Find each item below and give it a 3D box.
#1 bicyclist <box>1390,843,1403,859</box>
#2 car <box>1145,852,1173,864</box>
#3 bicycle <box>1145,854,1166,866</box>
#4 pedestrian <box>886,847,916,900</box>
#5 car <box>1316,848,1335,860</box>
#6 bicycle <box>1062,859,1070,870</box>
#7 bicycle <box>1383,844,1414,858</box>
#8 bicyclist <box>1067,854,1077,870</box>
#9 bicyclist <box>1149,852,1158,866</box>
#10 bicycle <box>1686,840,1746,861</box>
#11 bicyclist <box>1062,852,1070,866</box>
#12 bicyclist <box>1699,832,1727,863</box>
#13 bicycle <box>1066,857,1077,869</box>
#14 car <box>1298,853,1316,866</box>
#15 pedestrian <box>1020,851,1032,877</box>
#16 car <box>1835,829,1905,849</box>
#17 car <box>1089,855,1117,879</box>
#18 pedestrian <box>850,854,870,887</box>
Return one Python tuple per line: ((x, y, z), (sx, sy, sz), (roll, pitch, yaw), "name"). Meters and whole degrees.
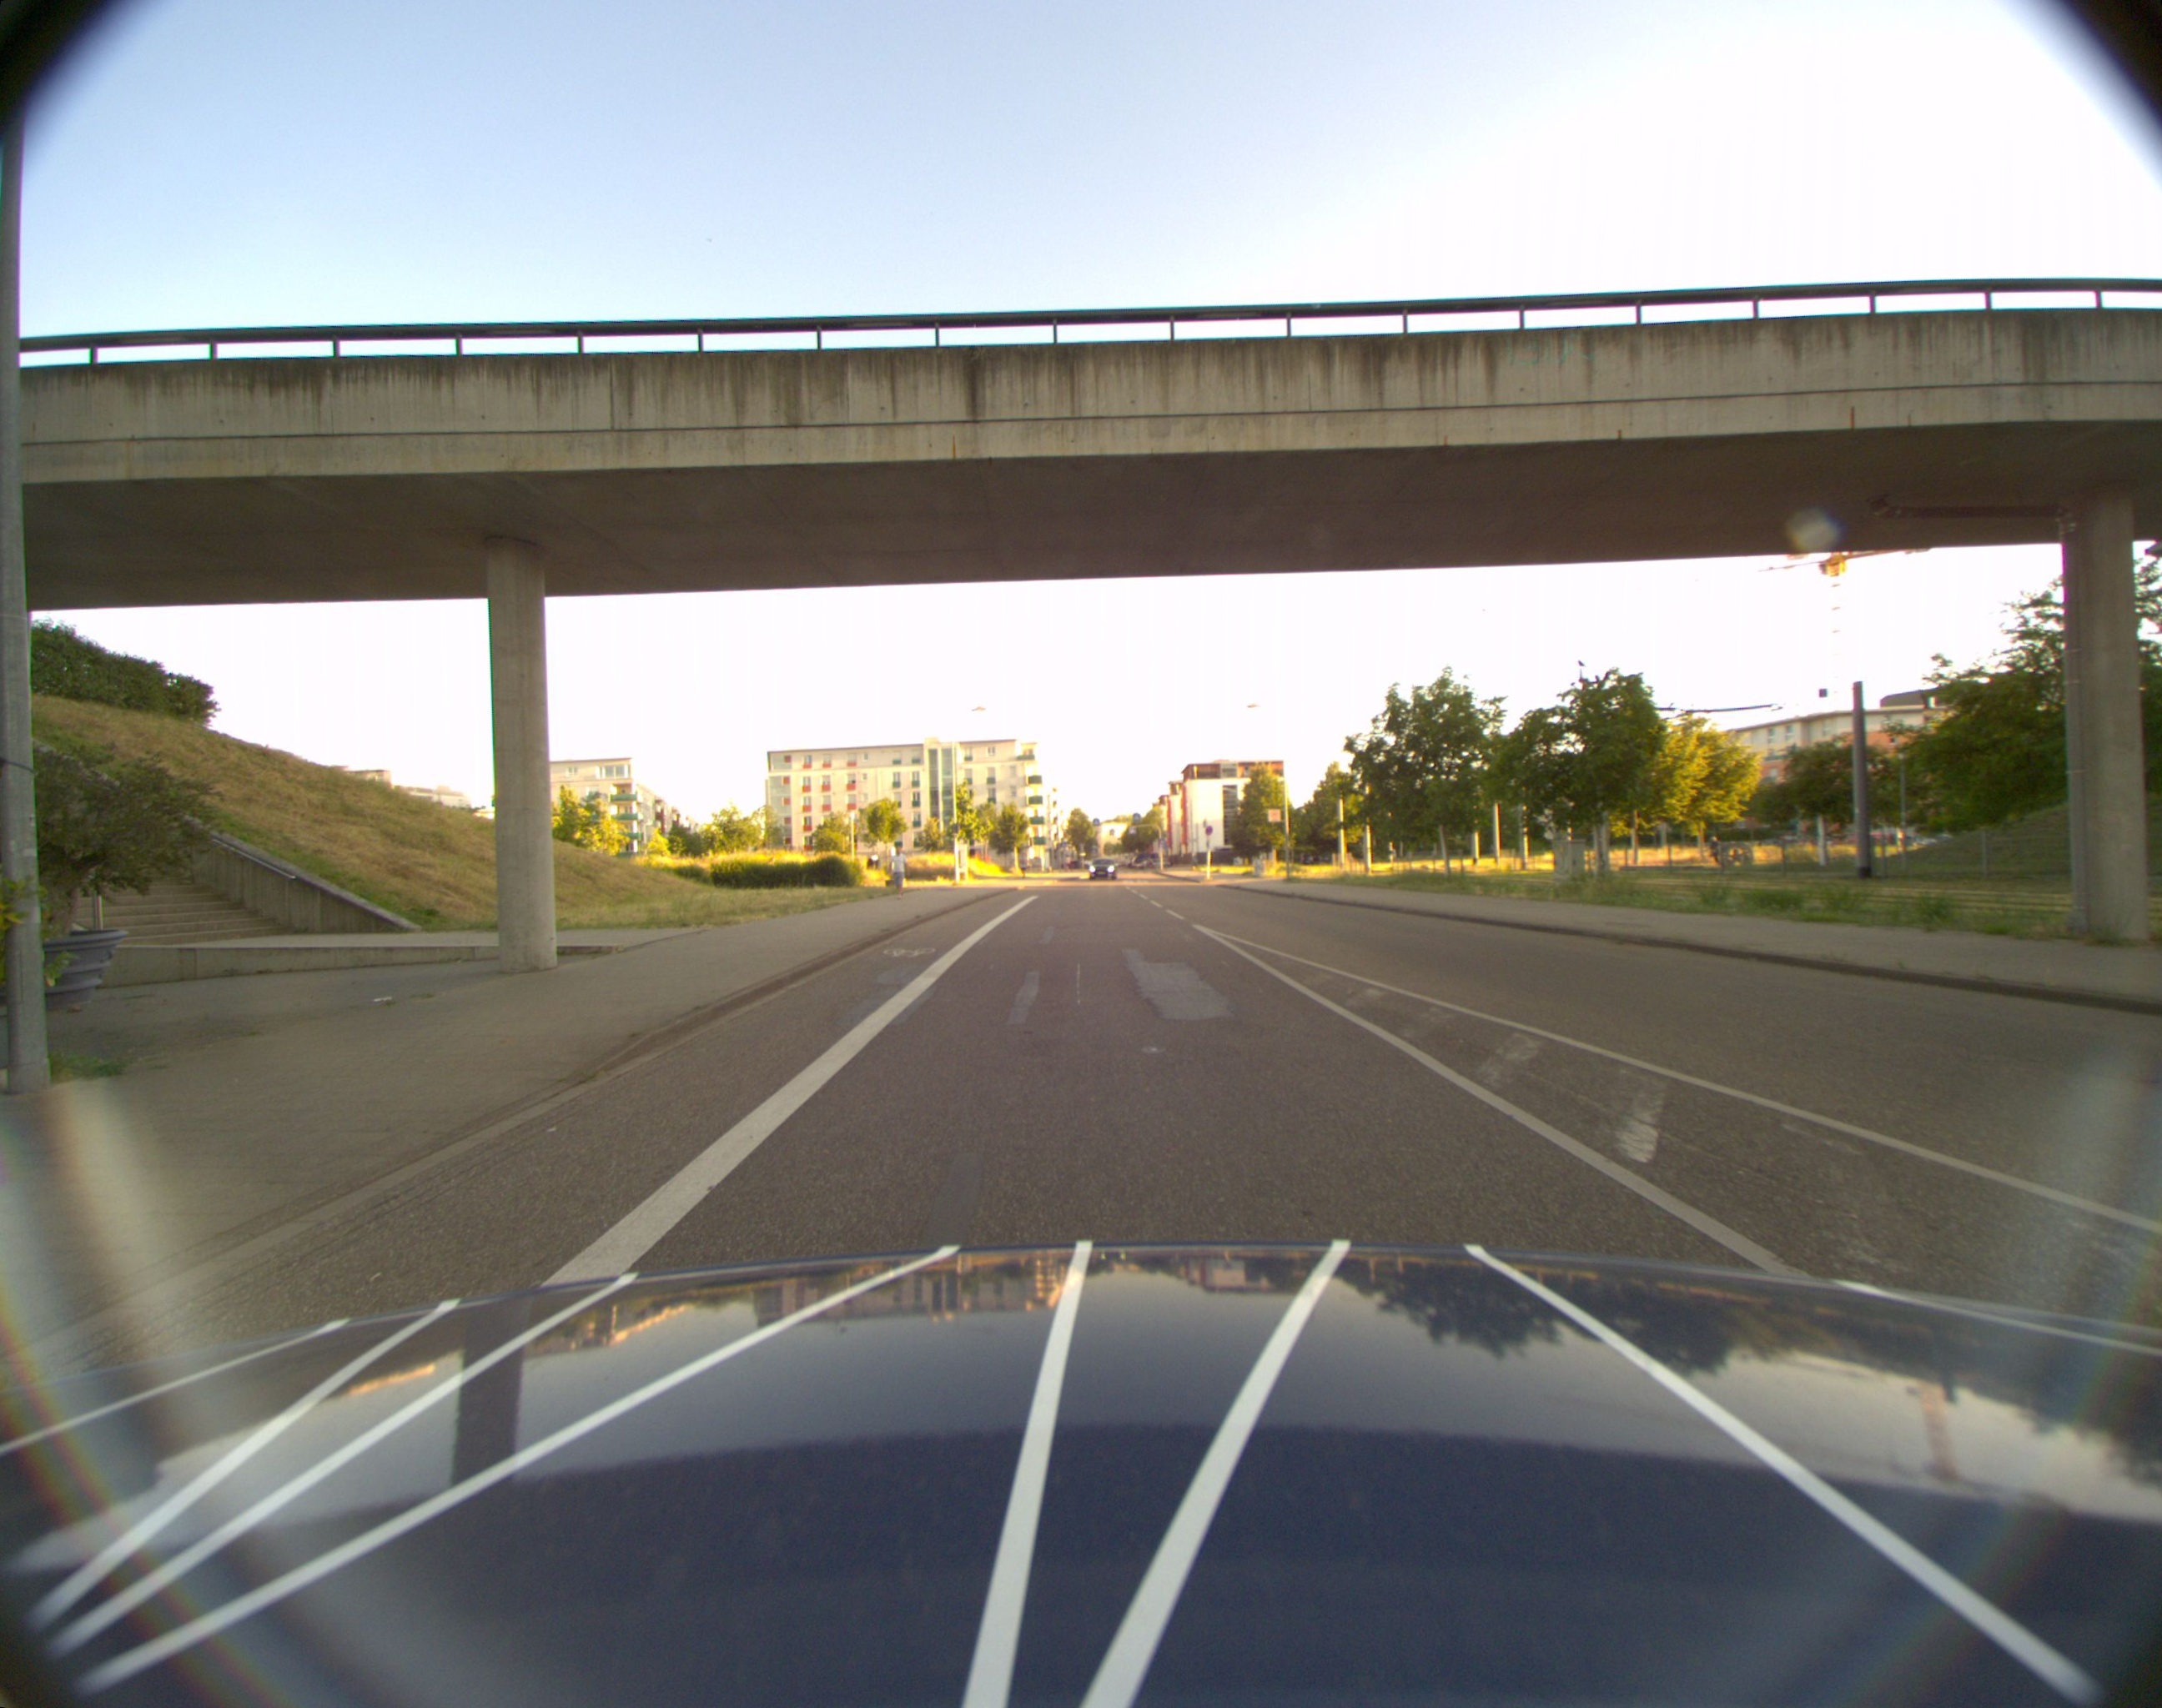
((36.909, -0.300, 88.906), (1.034, 1.865, 0.883), (-1, 1, -10), "bicyclist")
((11.639, 0.560, 113.618), (3.996, 1.718, 2.000), (-2, 0, 2), "car")
((9.494, 0.764, 97.115), (1.019, 1.560, 3.536), (-2, 0, -23), "bicycle")
((-5.962, 0.643, 25.198), (0.737, 1.714, 0.906), (0, 0, 1), "pedestrian")
((31.120, 0.004, 96.826), (1.942, 1.521, 4.004), (-2, 0, 14), "car")
((-1.806, 1.249, 92.036), (0.662, 1.217, 2.438), (-2, 0, -9), "bicycle")
((37.159, -0.340, 88.886), (3.320, 1.483, 0.887), (-2, 0, -6), "bicycle")
((-0.879, 0.798, 76.667), (0.932, 1.585, 1.067), (-2, 0, -3), "bicyclist")
((9.298, 0.650, 97.538), (0.859, 1.653, 0.918), (-2, 0, -21), "bicyclist")
((34.741, -0.194, 41.583), (2.842, 1.002, 0.655), (-2, 0, -3), "bicycle")
((-1.813, 0.591, 91.798), (0.697, 1.630, 0.851), (-2, 0, -10), "bicyclist")
((34.721, -0.354, 41.750), (0.910, 1.622, 0.717), (-2, 0, -5), "bicyclist")
((-0.933, 0.929, 76.728), (0.900, 1.142, 3.497), (-2, 0, -3), "bicycle")
((28.943, 0.693, 97.273), (1.942, 1.521, 4.004), (-2, 0, 14), "car")
((-3.675, 0.638, 50.464), (0.737, 1.714, 0.532), (0, 0, 1), "pedestrian")
((88.579, -1.640, 85.360), (5.520, 2.002, 2.001), (-2, 0, 5), "car")
((1.461, 0.838, 51.178), (1.739, 1.455, 4.000), (-2, 0, 1), "car")
((-10.883, 0.818, 37.421), (0.737, 1.620, 0.859), (0, 0, 2), "pedestrian")
